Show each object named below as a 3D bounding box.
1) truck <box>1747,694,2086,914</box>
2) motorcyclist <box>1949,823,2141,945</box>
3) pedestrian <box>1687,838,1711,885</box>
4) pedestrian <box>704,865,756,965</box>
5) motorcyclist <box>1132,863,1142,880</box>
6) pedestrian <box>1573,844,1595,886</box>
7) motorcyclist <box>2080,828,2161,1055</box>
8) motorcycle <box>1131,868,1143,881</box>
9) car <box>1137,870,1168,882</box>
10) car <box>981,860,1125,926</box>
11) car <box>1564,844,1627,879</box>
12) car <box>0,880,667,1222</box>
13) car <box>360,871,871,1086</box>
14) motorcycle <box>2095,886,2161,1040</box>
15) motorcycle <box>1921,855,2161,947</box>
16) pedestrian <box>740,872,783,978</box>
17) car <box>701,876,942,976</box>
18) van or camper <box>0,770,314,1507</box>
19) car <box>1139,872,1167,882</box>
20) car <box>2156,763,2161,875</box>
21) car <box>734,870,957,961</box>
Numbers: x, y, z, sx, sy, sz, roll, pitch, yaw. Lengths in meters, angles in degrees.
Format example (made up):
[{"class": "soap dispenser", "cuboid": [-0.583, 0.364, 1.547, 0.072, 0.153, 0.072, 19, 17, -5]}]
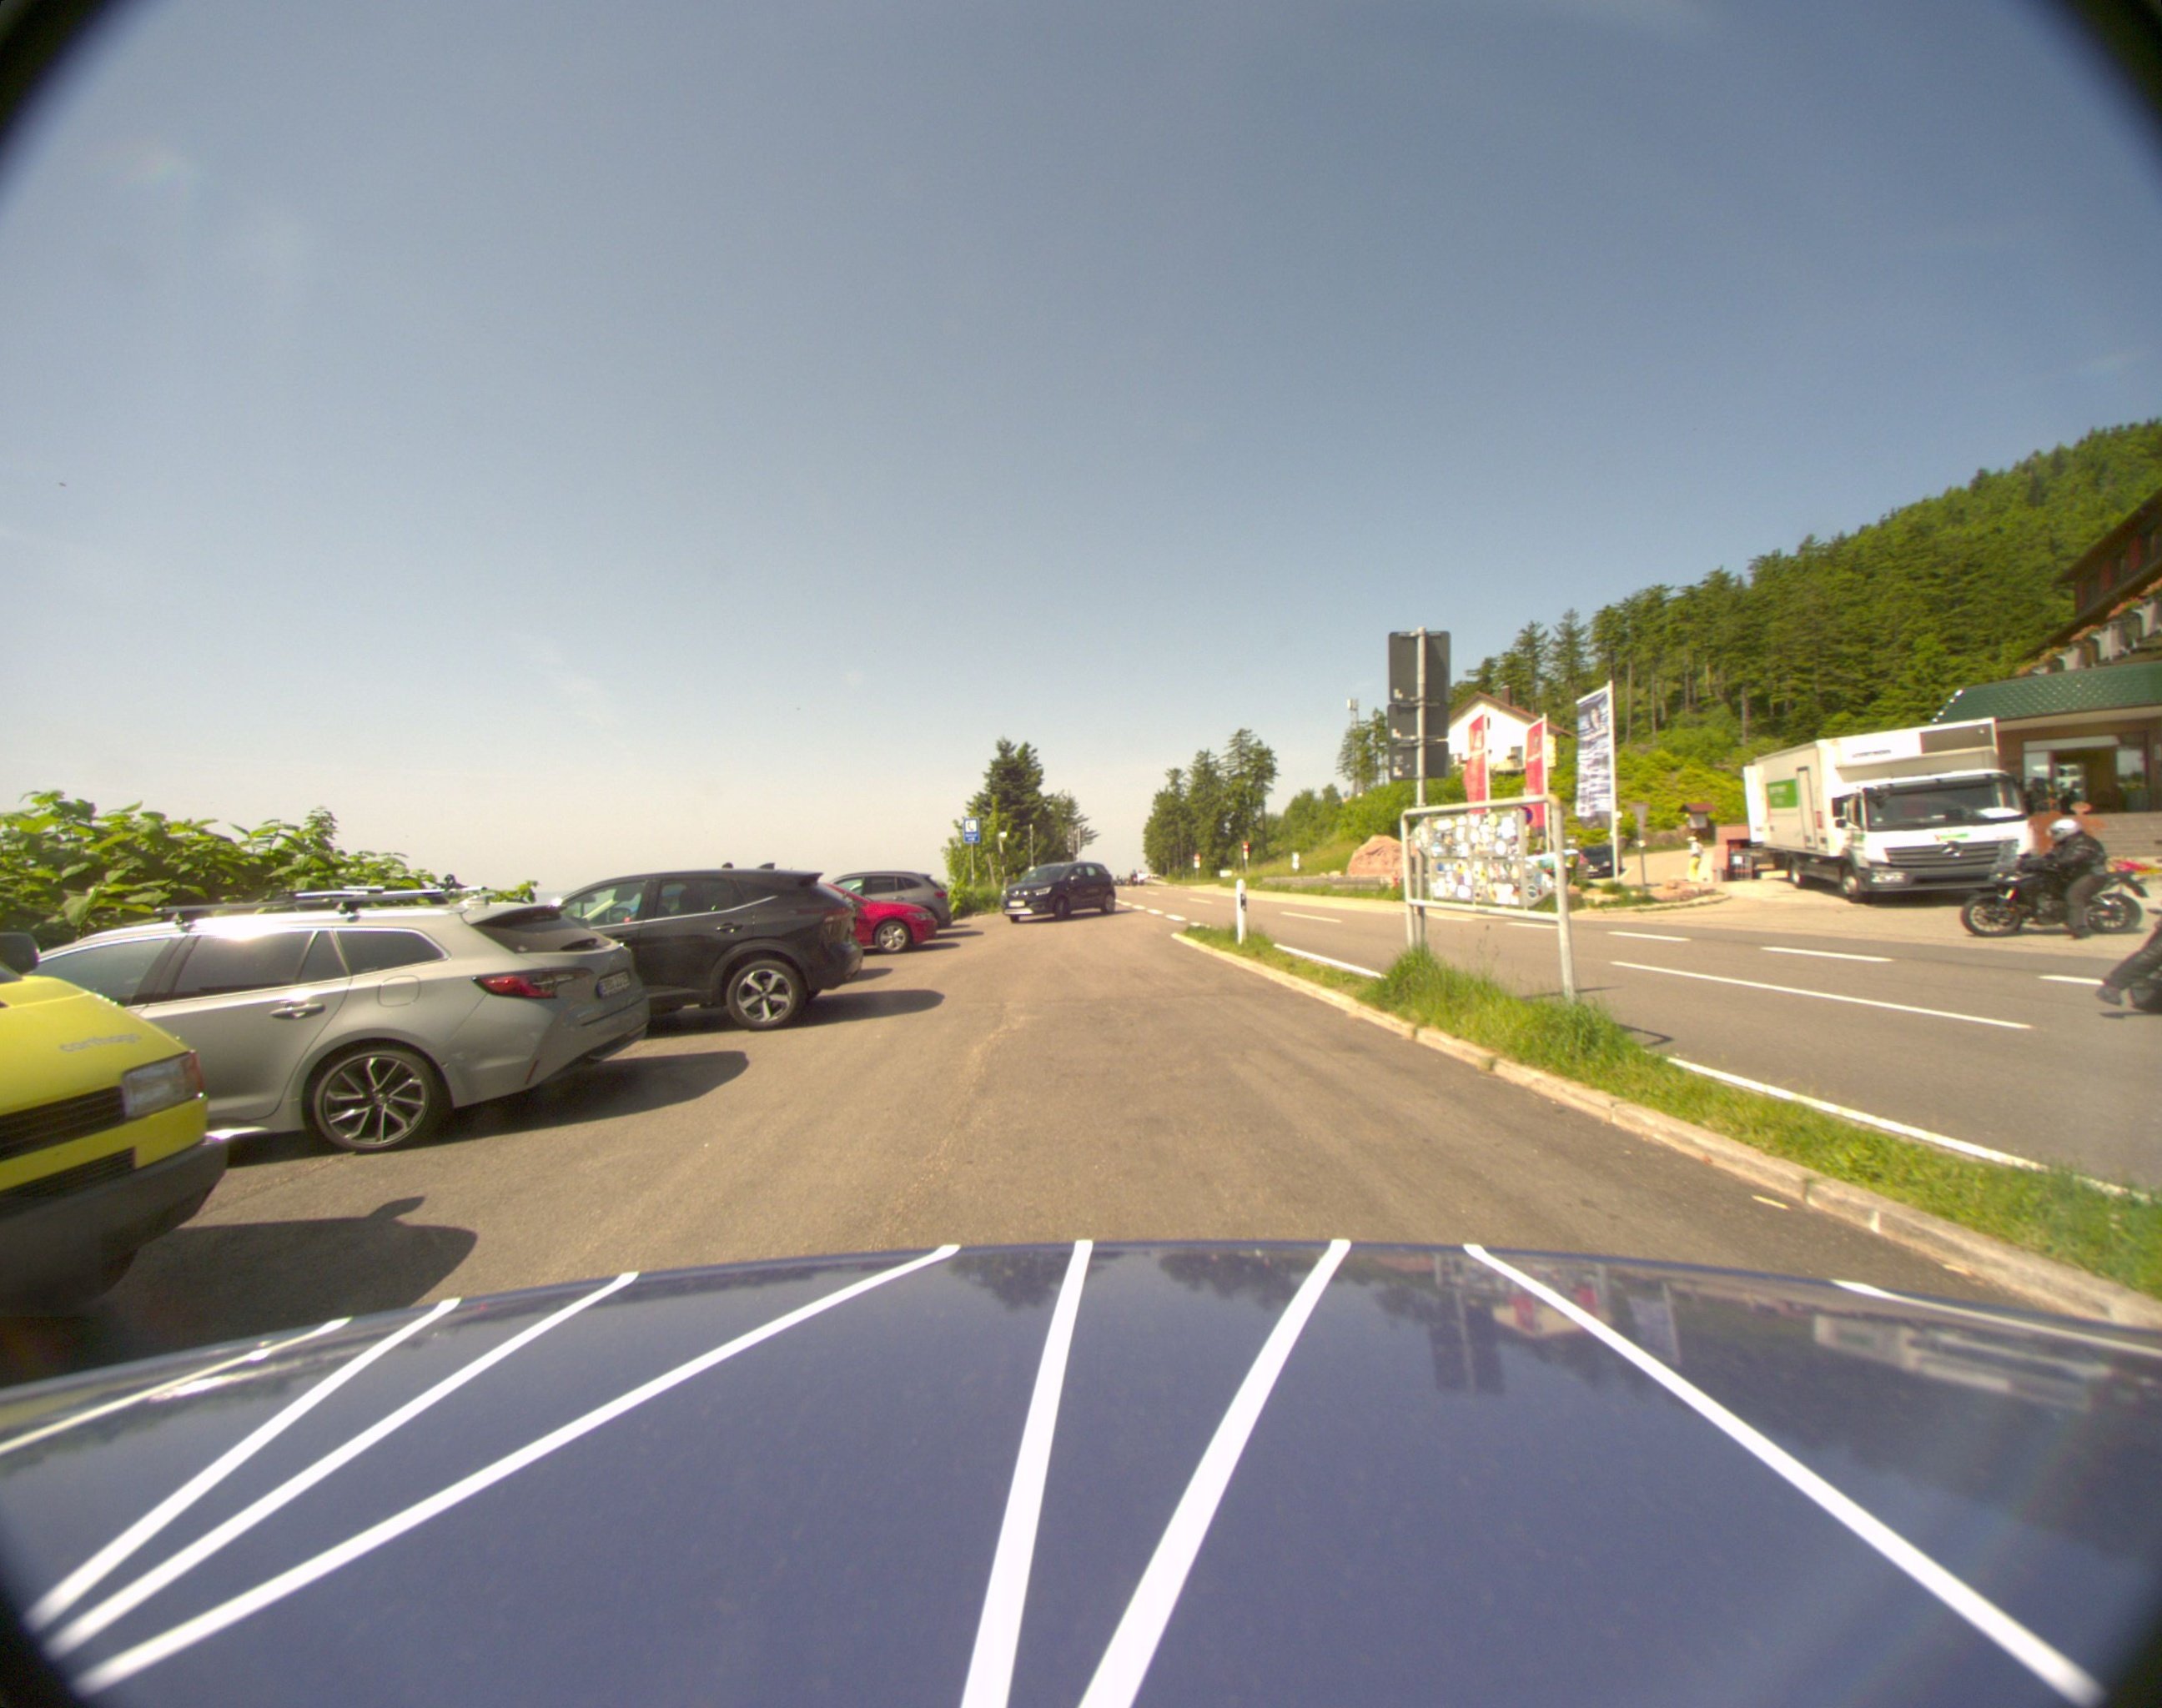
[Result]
[{"class": "truck", "cuboid": [19.256, -1.036, 18.425, 3.062, 3.949, 8.786, -4, 0, 32]}, {"class": "motorcyclist", "cuboid": [14.342, 0.449, 11.367, 1.449, 1.707, 0.927, -3, -1, 18]}, {"class": "pedestrian", "cuboid": [22.270, 0.274, 27.377, 0.574, 1.679, 0.654, -1, 0, 31]}, {"class": "pedestrian", "cuboid": [-6.966, 1.196, 15.109, 0.610, 1.889, 0.678, -4, 1, -7]}, {"class": "motorcyclist", "cuboid": [5.567, 1.752, 75.615, 0.881, 1.632, 1.299, 0, 0, -3]}, {"class": "pedestrian", "cuboid": [20.810, 0.460, 31.423, 0.697, 1.706, 0.800, -1, 0, 31]}, {"class": "motorcyclist", "cuboid": [8.701, 0.624, 5.765, 1.026, 1.665, 1.296, -2, 0, 38]}, {"class": "motorcycle", "cuboid": [5.556, 2.042, 75.639, 0.813, 1.258, 2.327, 0, -1, -3]}, {"class": "car", "cuboid": [11.858, 3.652, 126.053, 4.730, 1.870, 1.932, 1, -1, -3]}, {"class": "car", "cuboid": [-0.681, 1.065, 21.734, 1.981, 1.607, 4.157, -4, -1, 33]}, {"class": "car", "cuboid": [25.539, 0.349, 37.695, 1.874, 1.347, 4.006, -1, 5, 45]}, {"class": "car", "cuboid": [-5.253, 1.098, 4.871, 4.165, 1.580, 1.703, -3, 0, -12]}, {"class": "car", "cuboid": [-4.374, 1.105, 7.857, 4.000, 1.604, 1.915, -3, 0, -11]}, {"class": "motorcycle", "cuboid": [8.834, 0.869, 5.735, 0.822, 1.170, 2.291, -2, -1, 38]}, {"class": "motorcycle", "cuboid": [14.396, 0.702, 11.373, 2.273, 1.249, 0.880, -3, -1, 18]}, {"class": "pedestrian", "cuboid": [-5.435, 1.186, 12.959, 0.505, 1.715, 0.566, -4, 1, -18]}, {"class": "car", "cuboid": [-4.768, 1.268, 14.405, 4.002, 1.500, 1.840, -3, -1, -15]}, {"class": "van or camper", "cuboid": [-5.527, 0.958, 1.899, 5.103, 2.002, 1.882, -5, 0, -1]}, {"class": "car", "cuboid": [10.797, 3.517, 114.725, 3.929, 1.365, 1.932, 1, -1, -3]}, {"class": "car", "cuboid": [24.929, -0.735, 14.880, 1.998, 2.482, 3.999, -1, 2, 0]}, {"class": "car", "cuboid": [-5.152, 1.286, 16.969, 4.413, 1.559, 1.905, -4, 0, -16]}]
